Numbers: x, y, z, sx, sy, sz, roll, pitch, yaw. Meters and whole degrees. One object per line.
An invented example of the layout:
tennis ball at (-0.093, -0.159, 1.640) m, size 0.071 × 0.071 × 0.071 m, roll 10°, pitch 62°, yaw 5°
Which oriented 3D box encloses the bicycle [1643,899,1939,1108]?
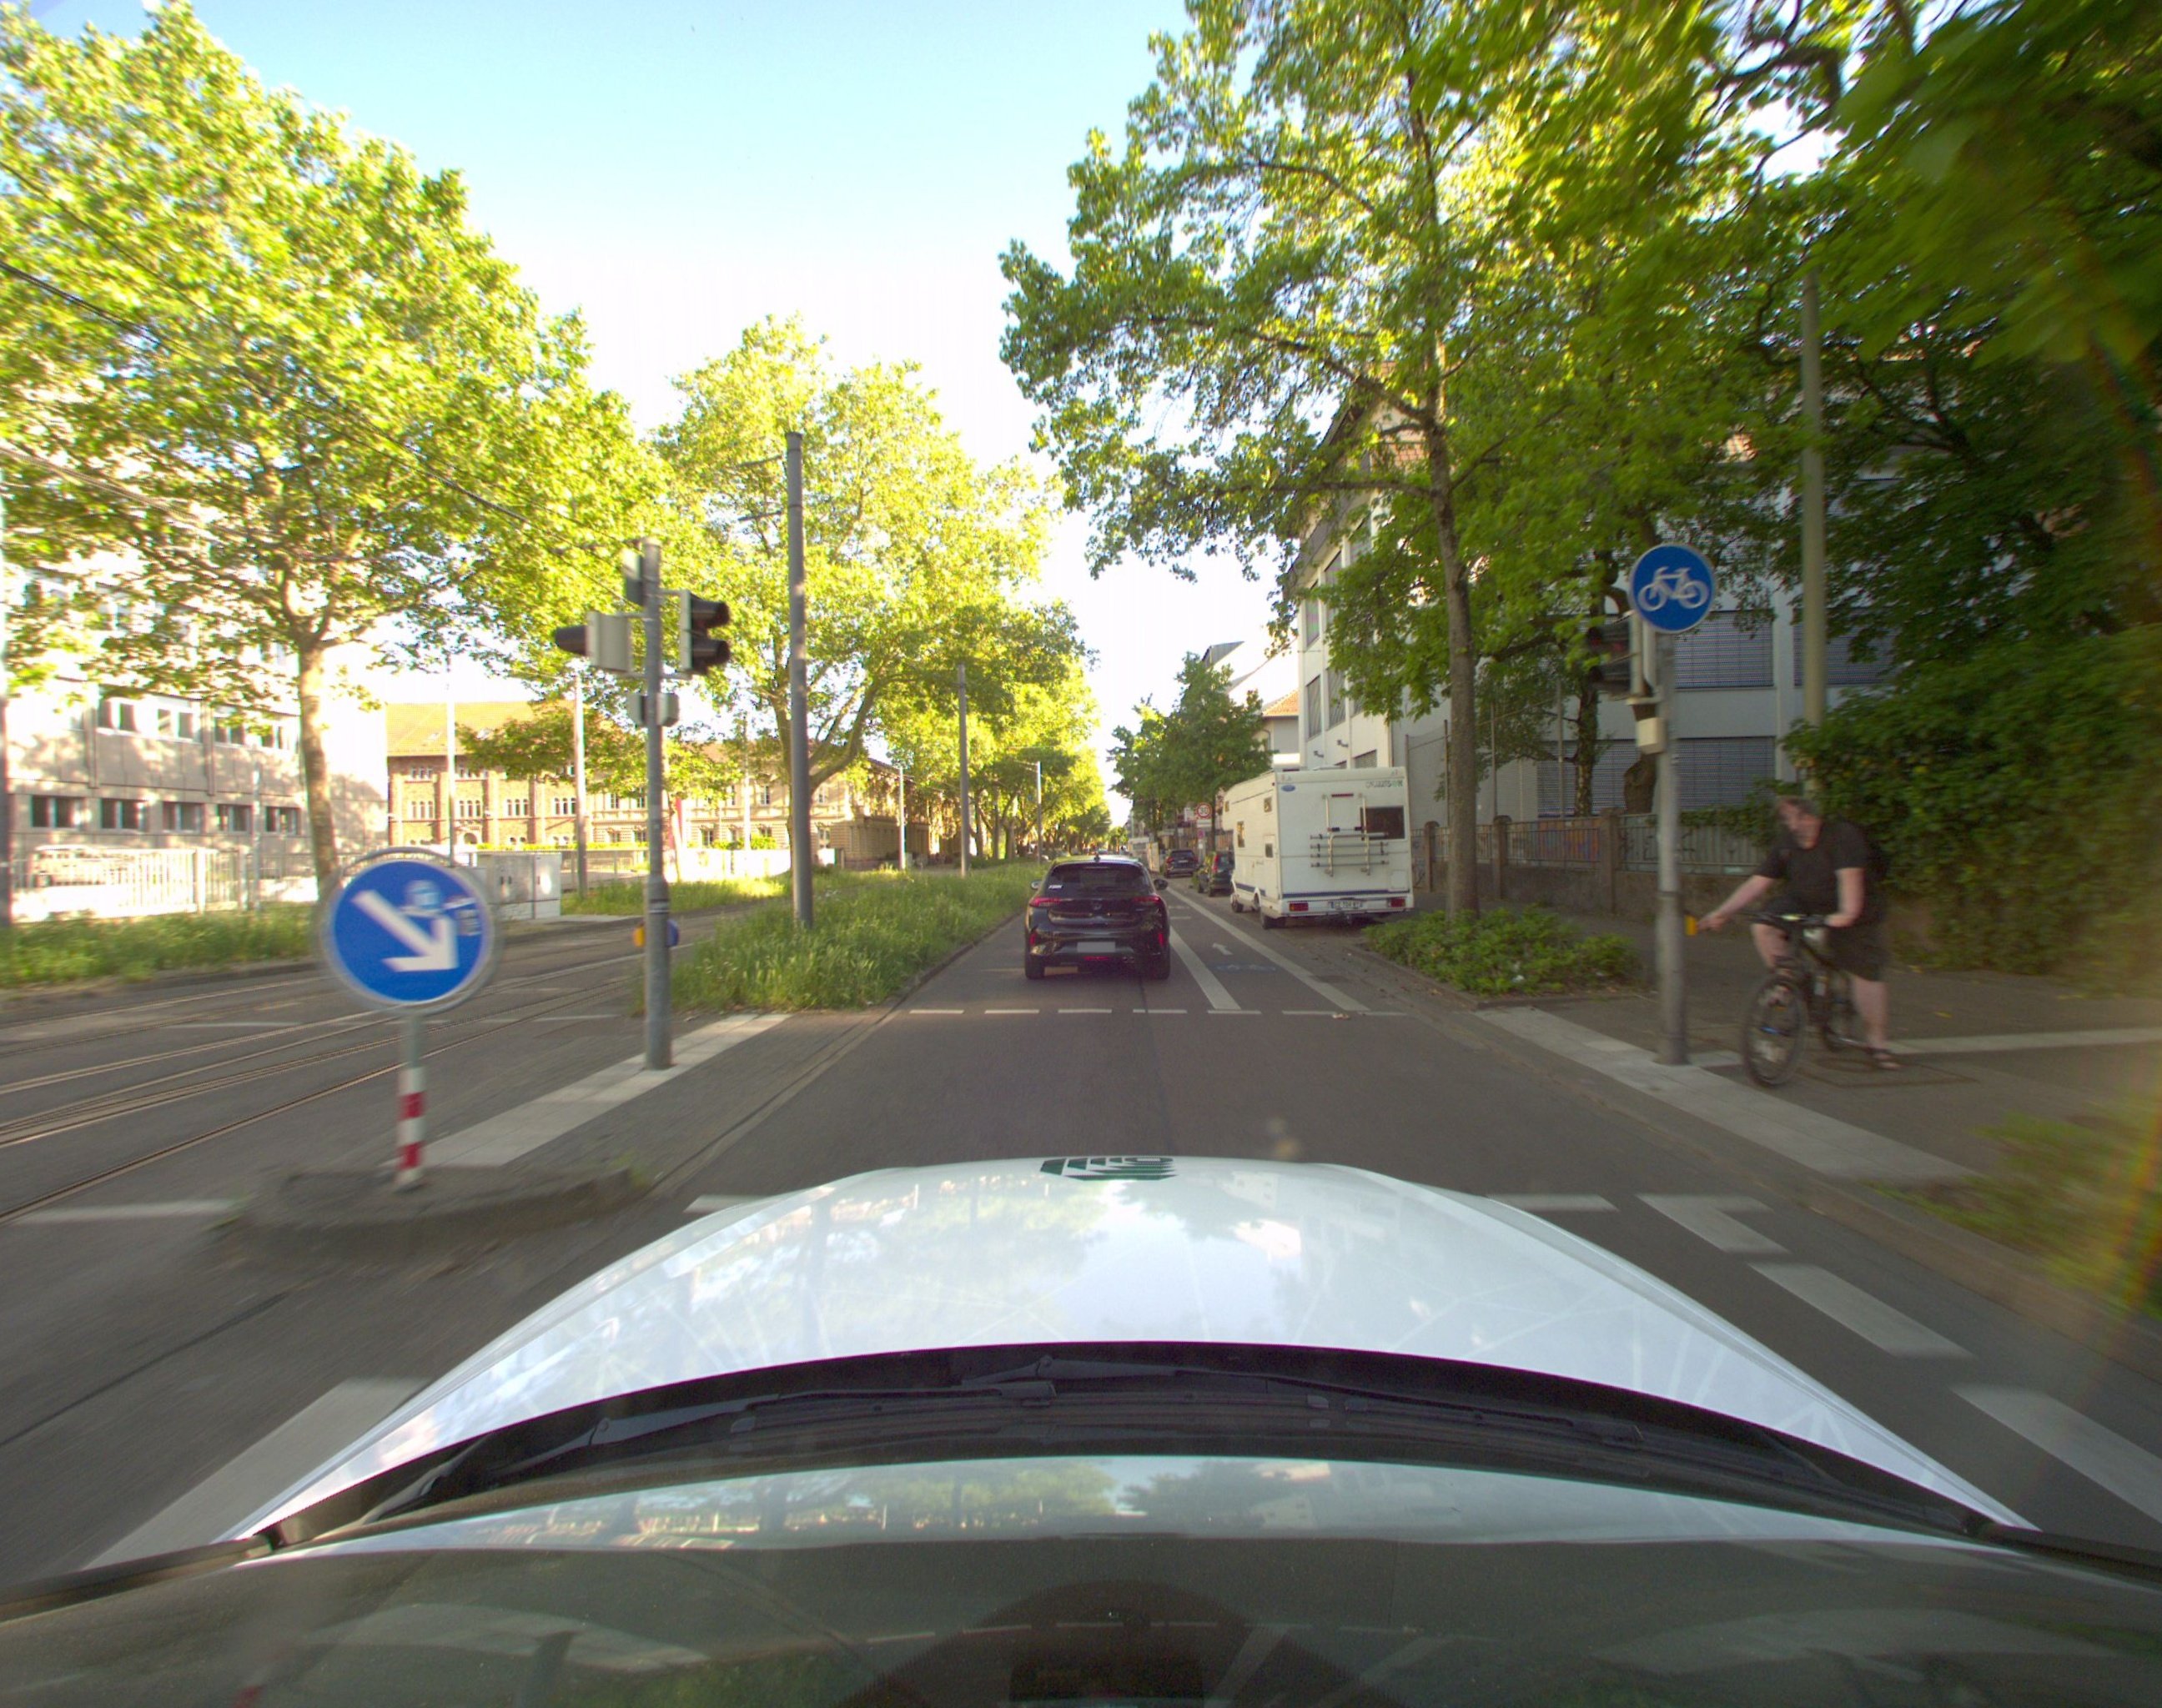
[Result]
bicycle at (4.565, 0.873, 5.217) m, size 1.952 × 1.070 × 0.637 m, roll -1°, pitch 0°, yaw -23°

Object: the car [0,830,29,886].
car at (-33.760, 0.166, 23.082) m, size 1.983 × 1.703 × 4.387 m, roll -1°, pitch 1°, yaw 7°

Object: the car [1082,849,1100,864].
car at (1.169, 0.268, 93.647) m, size 1.783 × 1.510 × 3.877 m, roll -2°, pitch 1°, yaw 3°

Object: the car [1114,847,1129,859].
car at (5.245, -0.110, 104.846) m, size 1.897 × 1.425 × 4.220 m, roll 0°, pitch 1°, yaw 3°

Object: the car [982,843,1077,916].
car at (-1.211, 0.553, 21.068) m, size 1.986 × 1.627 × 4.472 m, roll 2°, pitch 1°, yaw 2°

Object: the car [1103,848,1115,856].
car at (4.835, -0.335, 140.922) m, size 1.897 × 1.425 × 4.220 m, roll 0°, pitch 1°, yaw 3°

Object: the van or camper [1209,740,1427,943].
van or camper at (4.399, -0.236, 16.849) m, size 2.367 × 3.125 × 7.554 m, roll -3°, pitch 1°, yaw 2°

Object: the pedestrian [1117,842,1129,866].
pedestrian at (3.625, 0.003, 70.961) m, size 1.032 × 2.024 × 1.213 m, roll 0°, pitch 0°, yaw 1°

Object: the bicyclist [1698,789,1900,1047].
bicyclist at (4.592, 0.366, 5.237) m, size 0.702 × 1.510 × 0.746 m, roll -1°, pitch 0°, yaw -22°

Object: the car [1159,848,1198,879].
car at (5.231, 0.464, 43.932) m, size 1.783 × 1.510 × 3.877 m, roll -2°, pitch 1°, yaw 3°

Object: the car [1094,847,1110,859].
car at (2.855, -0.152, 110.084) m, size 1.897 × 1.425 × 4.220 m, roll 0°, pitch 1°, yaw 3°

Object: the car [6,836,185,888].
car at (-41.020, 0.300, 34.007) m, size 4.730 × 2.013 × 1.997 m, roll -1°, pitch 1°, yaw -4°

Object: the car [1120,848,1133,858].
car at (6.907, -0.103, 124.161) m, size 1.897 × 1.425 × 4.220 m, roll 0°, pitch 1°, yaw 3°

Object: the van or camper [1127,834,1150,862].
van or camper at (6.339, -0.700, 90.251) m, size 2.476 × 2.993 × 5.439 m, roll 1°, pitch 0°, yaw 3°

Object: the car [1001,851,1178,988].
car at (0.221, 0.704, 10.881) m, size 1.897 × 1.425 × 4.220 m, roll 0°, pitch 1°, yaw 3°

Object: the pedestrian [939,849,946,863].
pedestrian at (-16.004, 0.231, 94.216) m, size 0.656 × 1.622 × 0.616 m, roll 2°, pitch 0°, yaw 1°

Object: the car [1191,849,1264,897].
car at (4.753, 0.563, 26.913) m, size 1.680 × 1.420 × 4.048 m, roll -1°, pitch 1°, yaw 0°

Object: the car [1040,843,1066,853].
car at (-6.439, -1.398, 186.669) m, size 5.665 × 2.197 × 2.290 m, roll -1°, pitch 0°, yaw 2°

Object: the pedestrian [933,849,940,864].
pedestrian at (-16.657, 0.275, 94.038) m, size 0.616 × 1.733 × 0.596 m, roll 2°, pitch 0°, yaw 1°
